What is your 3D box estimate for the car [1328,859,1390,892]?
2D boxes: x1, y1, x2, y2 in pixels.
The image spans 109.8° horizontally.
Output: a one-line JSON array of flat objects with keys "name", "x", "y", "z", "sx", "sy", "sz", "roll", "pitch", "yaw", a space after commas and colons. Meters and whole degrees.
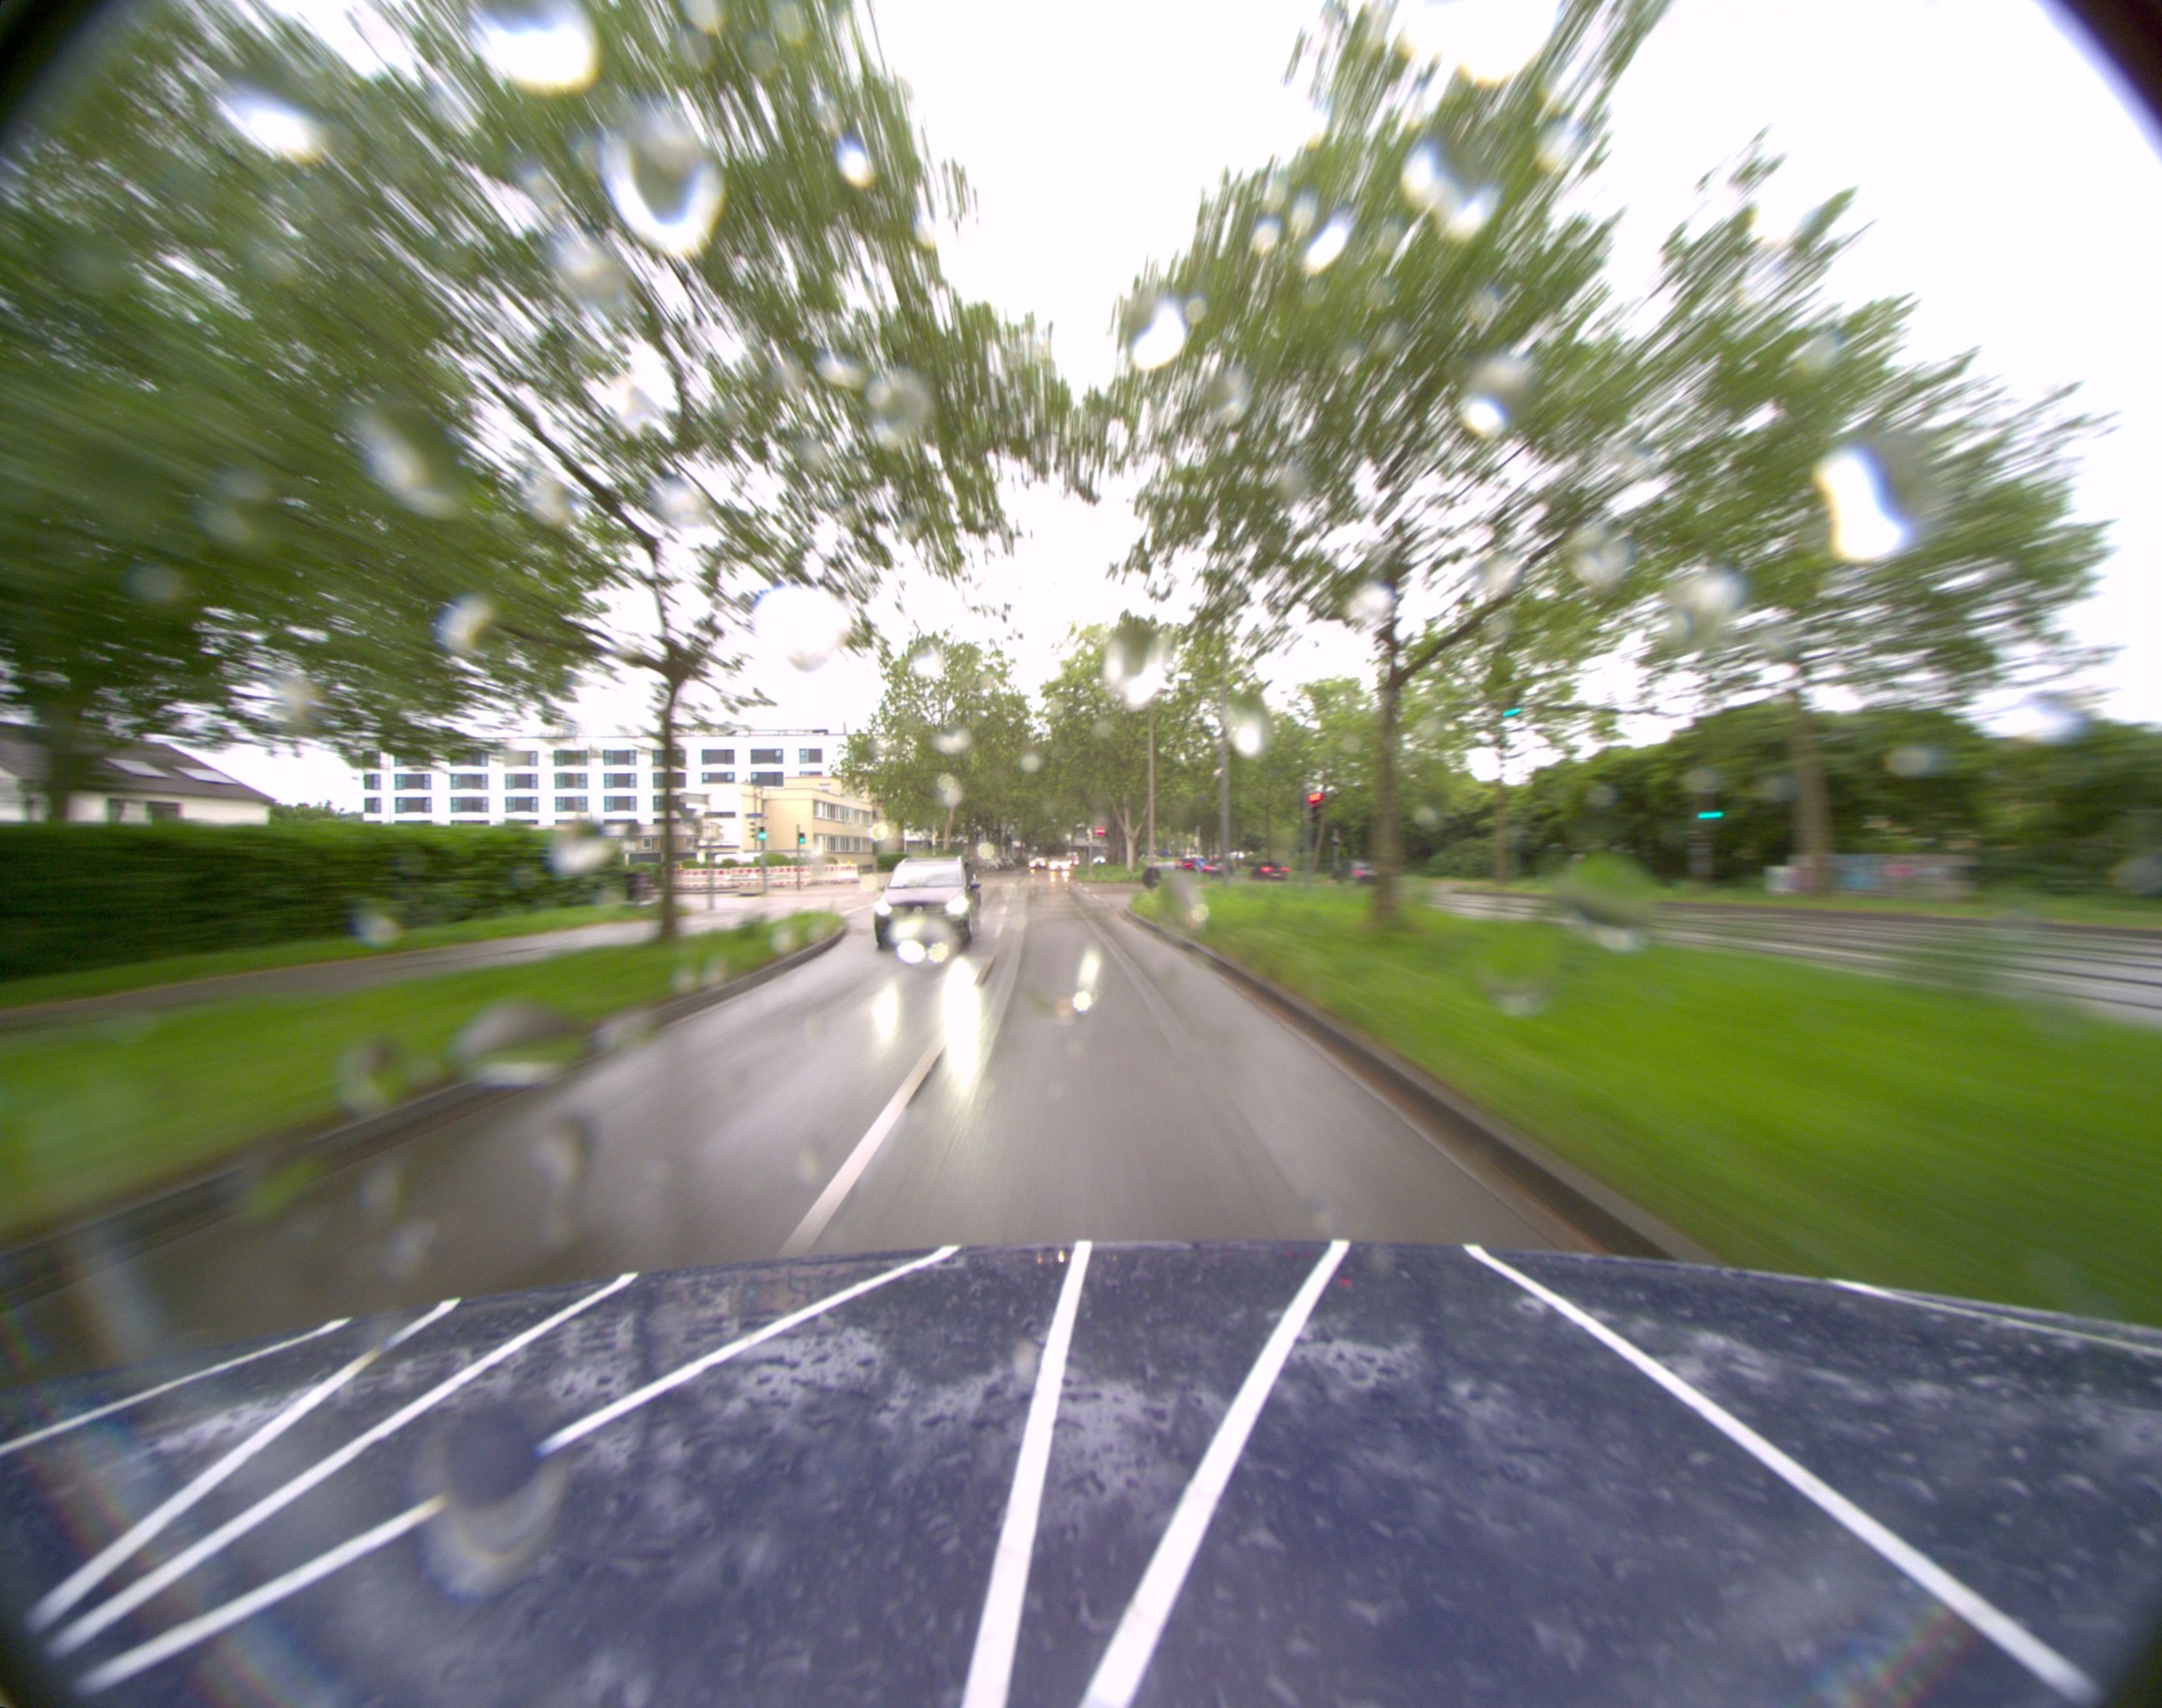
[{"name": "car", "x": 14.414, "y": 1.058, "z": 39.557, "sx": 1.784, "sy": 1.546, "sz": 4.000, "roll": -1, "pitch": 0, "yaw": 1}]

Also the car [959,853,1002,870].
[{"name": "car", "x": -9.908, "y": 0.732, "z": 75.198, "sx": 3.998, "sy": 1.546, "sz": 1.785, "roll": -1, "pitch": 0, "yaw": -2}]

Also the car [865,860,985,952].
[{"name": "car", "x": -3.063, "y": 0.951, "z": 15.687, "sx": 1.784, "sy": 1.546, "sz": 3.999, "roll": -2, "pitch": 0, "yaw": -3}]

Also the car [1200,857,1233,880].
[{"name": "car", "x": 9.967, "y": 1.062, "z": 56.184, "sx": 1.784, "sy": 1.546, "sz": 4.000, "roll": -1, "pitch": 0, "yaw": 1}]

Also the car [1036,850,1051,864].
[{"name": "car", "x": -4.529, "y": 0.358, "z": 92.315, "sx": 1.784, "sy": 1.546, "sz": 3.999, "roll": -1, "pitch": 0, "yaw": -2}]

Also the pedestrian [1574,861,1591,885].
[{"name": "pedestrian", "x": 21.929, "y": 0.843, "z": 33.231, "sx": 0.475, "sy": 1.034, "sz": 0.442, "roll": -1, "pitch": 1, "yaw": 4}]

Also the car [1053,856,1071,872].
[{"name": "car", "x": -1.927, "y": 1.021, "z": 77.892, "sx": 1.784, "sy": 1.546, "sz": 3.999, "roll": -1, "pitch": 0, "yaw": -2}]

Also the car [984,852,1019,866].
[{"name": "car", "x": -9.400, "y": 0.545, "z": 89.887, "sx": 3.998, "sy": 1.546, "sz": 1.785, "roll": -1, "pitch": 0, "yaw": -2}]

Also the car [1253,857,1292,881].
[{"name": "car", "x": 13.429, "y": 0.999, "z": 53.454, "sx": 1.784, "sy": 1.546, "sz": 4.000, "roll": -1, "pitch": 0, "yaw": 1}]

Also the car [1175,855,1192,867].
[{"name": "car", "x": 13.812, "y": 0.985, "z": 102.289, "sx": 1.784, "sy": 1.546, "sz": 4.000, "roll": -1, "pitch": 0, "yaw": 1}]

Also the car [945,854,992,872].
[{"name": "car", "x": -10.277, "y": 0.811, "z": 69.685, "sx": 3.998, "sy": 1.546, "sz": 1.785, "roll": -1, "pitch": 0, "yaw": -2}]

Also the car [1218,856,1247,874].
[{"name": "car", "x": 13.672, "y": 0.999, "z": 68.726, "sx": 1.784, "sy": 1.546, "sz": 4.000, "roll": -1, "pitch": 0, "yaw": 1}]

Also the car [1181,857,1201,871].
[{"name": "car", "x": 12.786, "y": 1.179, "z": 88.219, "sx": 1.784, "sy": 1.546, "sz": 4.000, "roll": -1, "pitch": 0, "yaw": 1}]

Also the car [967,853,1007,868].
[{"name": "car", "x": -9.942, "y": 0.670, "z": 80.741, "sx": 3.998, "sy": 1.546, "sz": 1.785, "roll": -1, "pitch": 0, "yaw": -2}]

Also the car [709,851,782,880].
[{"name": "car", "x": -22.021, "y": 0.732, "z": 49.973, "sx": 3.998, "sy": 1.760, "sz": 1.785, "roll": -1, "pitch": 1, "yaw": -2}]
